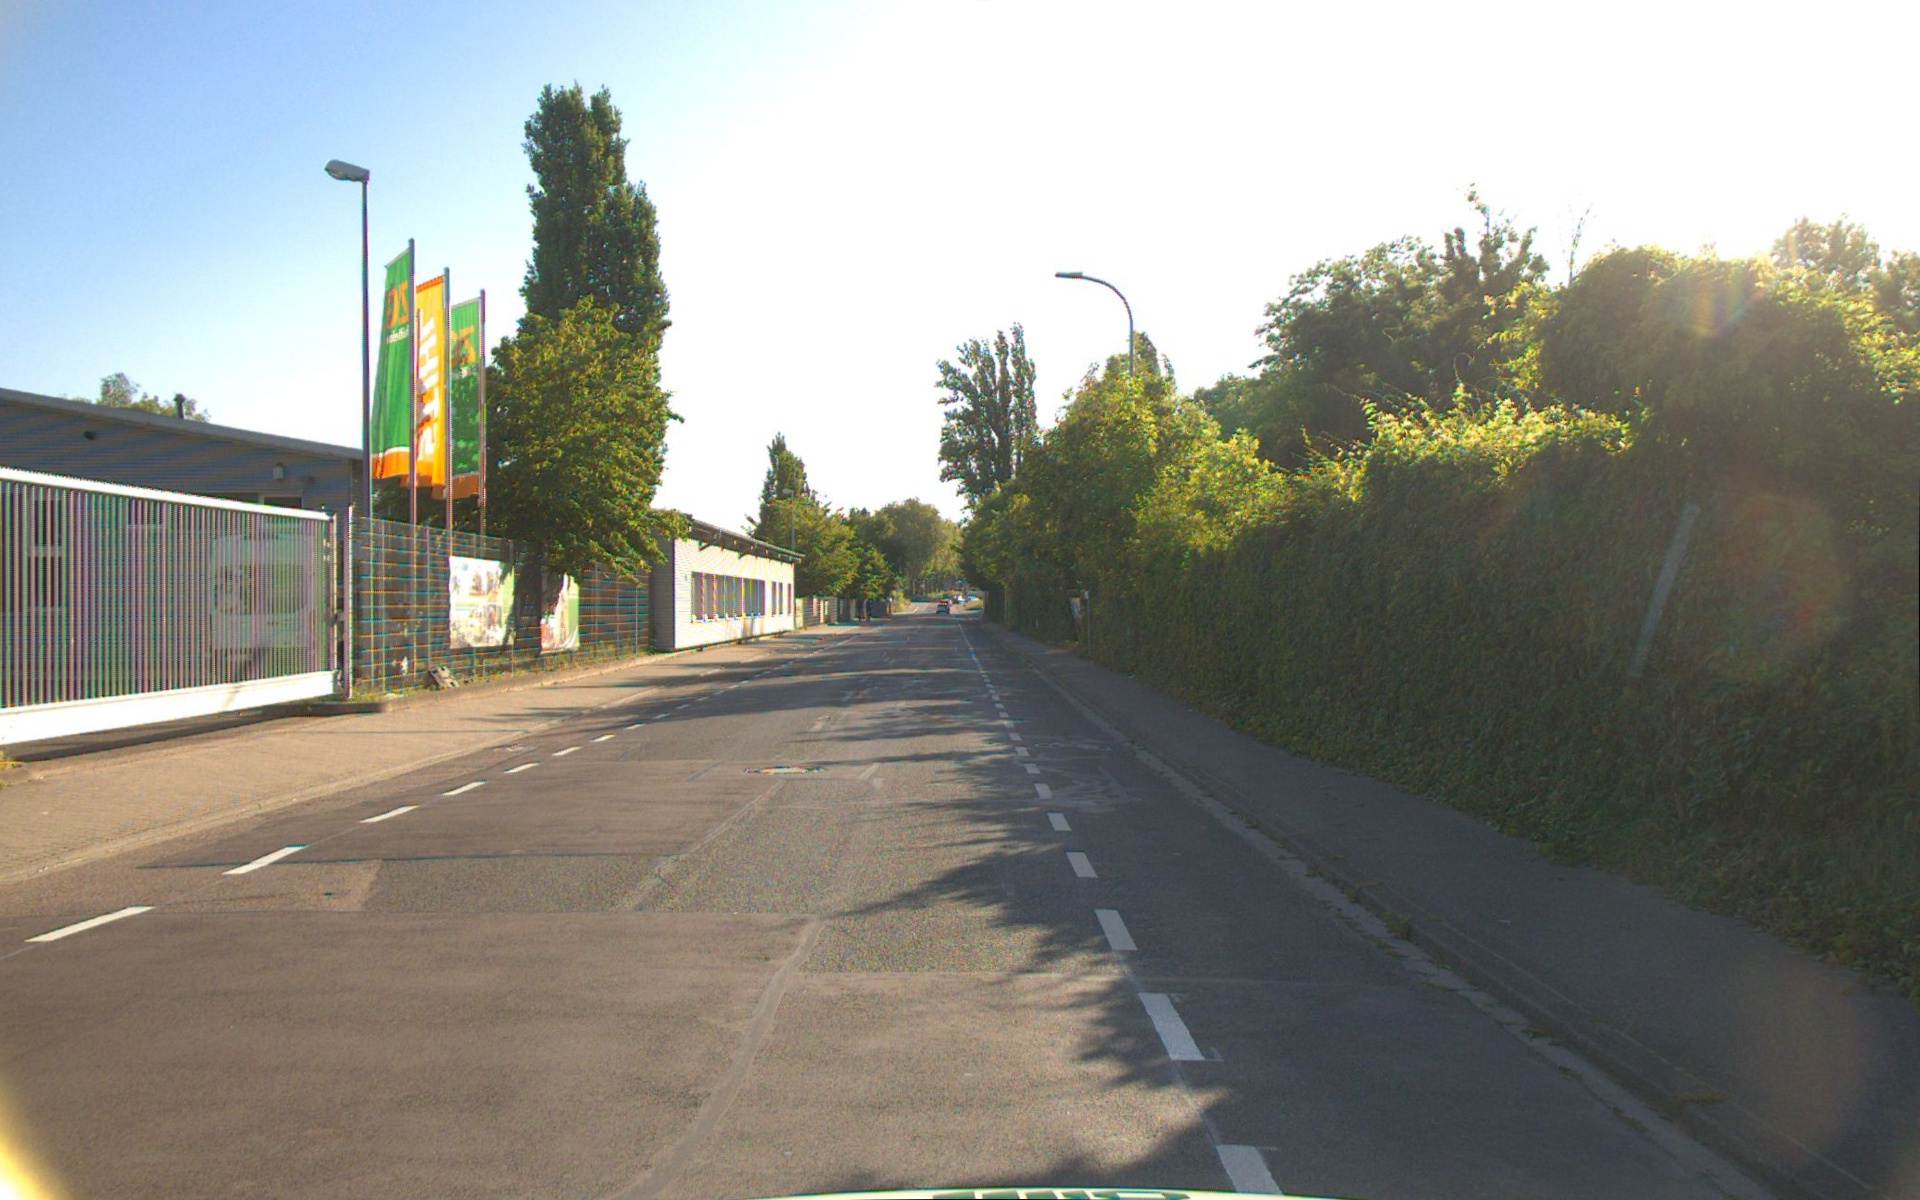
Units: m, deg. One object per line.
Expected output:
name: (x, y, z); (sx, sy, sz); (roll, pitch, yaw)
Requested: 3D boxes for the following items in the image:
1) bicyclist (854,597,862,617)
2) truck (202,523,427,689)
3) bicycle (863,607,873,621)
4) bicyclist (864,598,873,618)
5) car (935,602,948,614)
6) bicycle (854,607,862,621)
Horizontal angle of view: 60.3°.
bicyclist: (-8.051, 0.516, 130.647); (0.548, 1.560, 0.689); (1, 0, -1)
truck: (-11.934, 0.099, 31.079); (2.036, 2.810, 5.764); (0, 0, -1)
bicycle: (-7.212, 1.101, 130.104); (0.675, 1.052, 1.351); (1, 0, -1)
bicyclist: (-7.197, 0.614, 130.082); (0.675, 1.559, 0.722); (1, 0, -1)
car: (-2.638, 1.135, 237.884); (1.902, 1.680, 4.309); (1, 0, -1)
bicycle: (-8.063, 1.097, 130.721); (0.551, 1.052, 1.351); (1, 0, -1)
